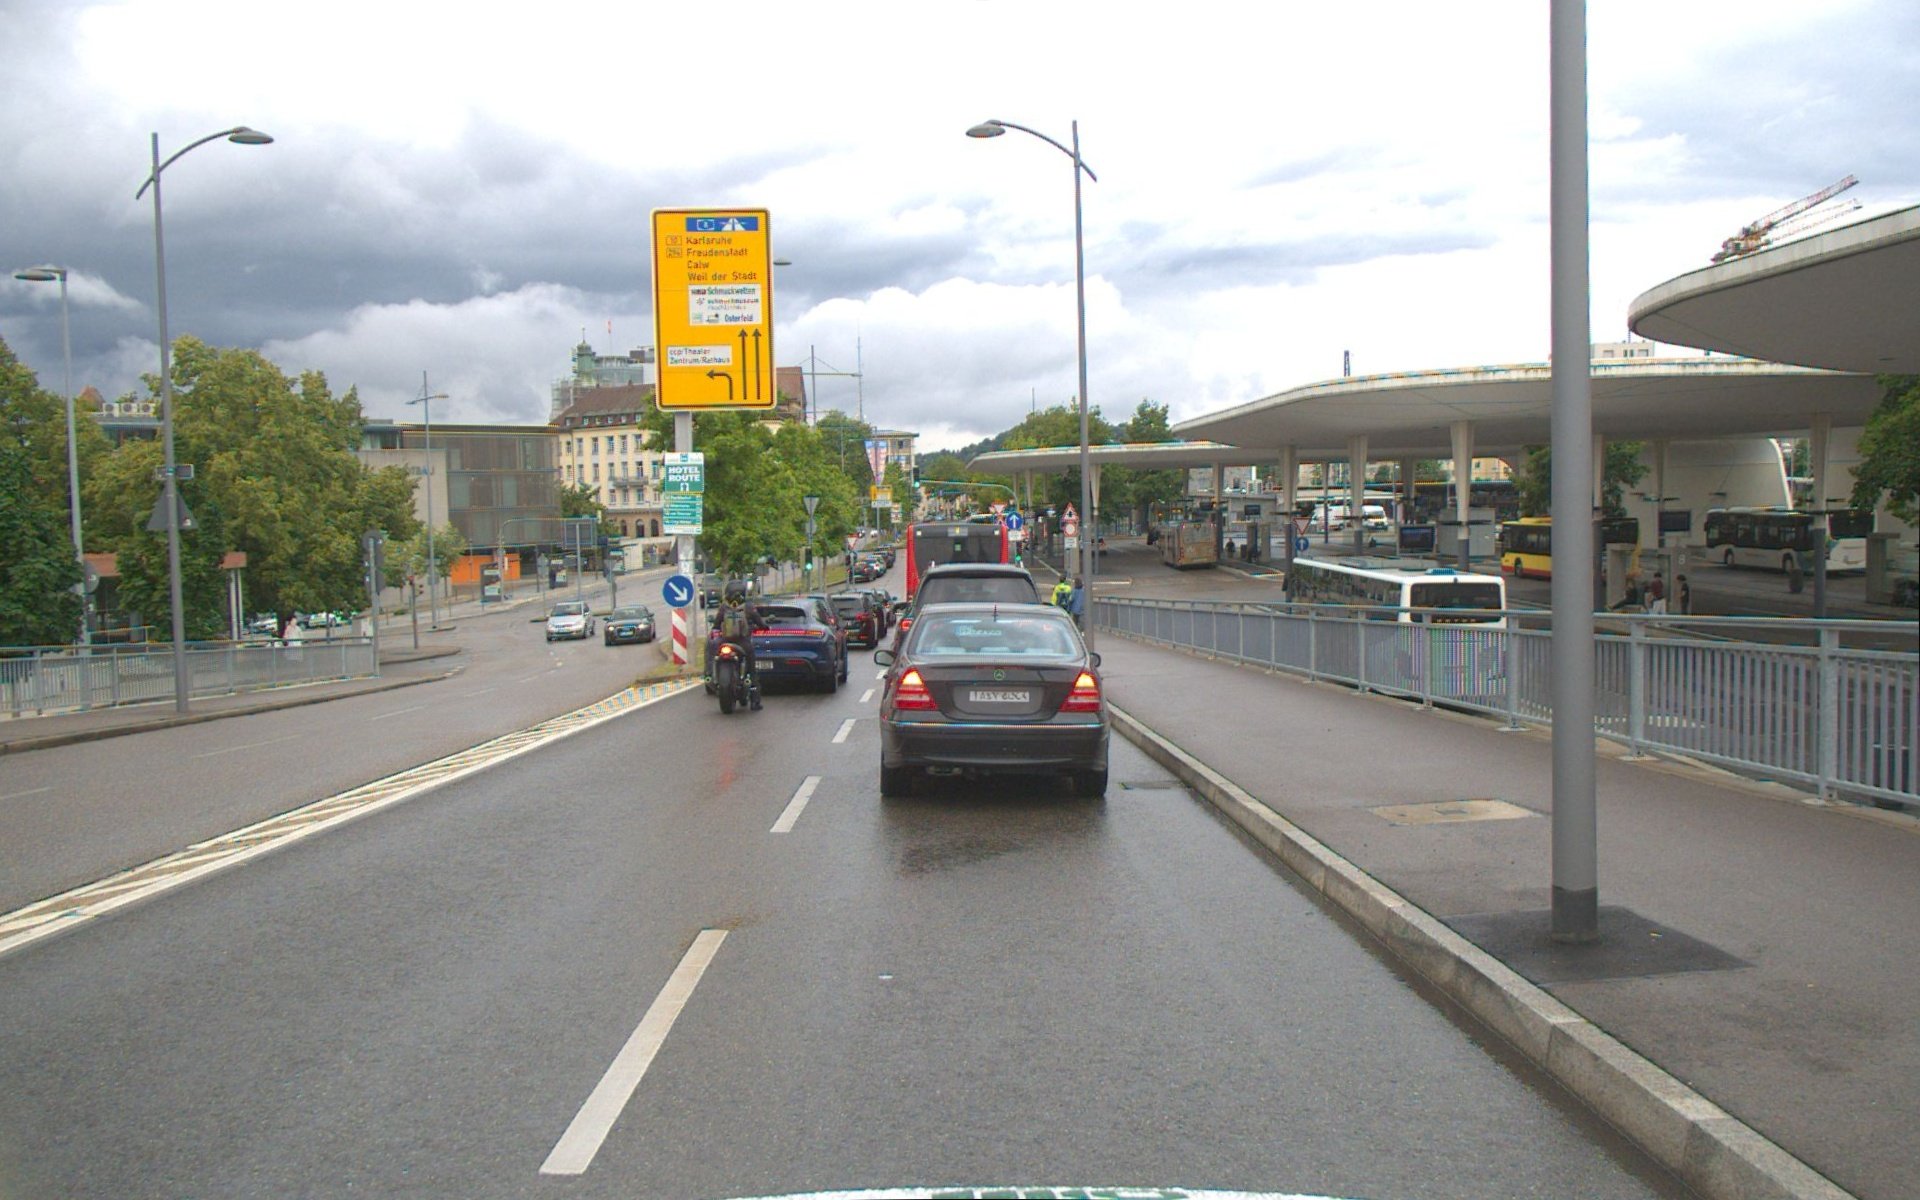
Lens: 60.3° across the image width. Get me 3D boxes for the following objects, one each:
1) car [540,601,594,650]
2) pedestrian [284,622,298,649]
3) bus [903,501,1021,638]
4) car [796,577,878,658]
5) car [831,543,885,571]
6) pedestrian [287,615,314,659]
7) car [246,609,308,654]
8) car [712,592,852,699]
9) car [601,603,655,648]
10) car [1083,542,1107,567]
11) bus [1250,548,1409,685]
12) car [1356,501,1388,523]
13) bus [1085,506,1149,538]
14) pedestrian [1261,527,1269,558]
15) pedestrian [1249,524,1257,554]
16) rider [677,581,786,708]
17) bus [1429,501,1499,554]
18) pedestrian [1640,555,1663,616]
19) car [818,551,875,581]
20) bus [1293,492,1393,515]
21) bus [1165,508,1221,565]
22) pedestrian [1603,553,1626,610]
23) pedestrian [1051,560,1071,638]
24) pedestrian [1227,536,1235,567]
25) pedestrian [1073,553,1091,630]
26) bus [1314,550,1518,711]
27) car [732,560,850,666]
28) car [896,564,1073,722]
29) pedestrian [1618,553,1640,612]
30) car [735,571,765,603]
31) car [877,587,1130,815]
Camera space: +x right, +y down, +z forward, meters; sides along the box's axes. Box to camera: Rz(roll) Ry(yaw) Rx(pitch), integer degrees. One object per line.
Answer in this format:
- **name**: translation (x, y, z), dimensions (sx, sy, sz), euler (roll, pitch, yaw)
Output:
- **car**: translation (-17.705, 1.118, 74.659), dimensions (1.956, 2.048, 3.993), euler (-2, 1, -8)
- **pedestrian**: translation (-22.737, 1.206, 56.225), dimensions (0.294, 0.888, 0.298), euler (-2, 2, 2)
- **bus**: translation (-0.021, -0.798, 44.349), dimensions (2.770, 3.245, 10.308), euler (0, 1, -1)
- **car**: translation (-3.233, 0.411, 44.100), dimensions (1.953, 2.041, 3.999), euler (0, 1, -1)
- **car**: translation (-7.840, -3.303, 127.342), dimensions (3.903, 2.048, 2.001), euler (-2, 1, 4)
- **pedestrian**: translation (-22.448, 1.260, 56.294), dimensions (0.634, 1.433, 0.531), euler (-2, 2, 2)
- **car**: translation (-35.007, 1.598, 84.702), dimensions (1.979, 2.048, 3.948), euler (3, 1, -37)
- **car**: translation (-2.652, 0.632, 25.417), dimensions (1.724, 1.461, 4.000), euler (0, 1, 0)
- **car**: translation (-13.548, 1.015, 67.680), dimensions (1.799, 1.553, 4.587), euler (-2, 2, -8)
- **car**: translation (11.489, -3.880, 140.335), dimensions (1.951, 2.048, 4.003), euler (-2, 1, 5)
- **bus**: translation (10.620, 0.324, 48.261), dimensions (2.594, 3.291, 7.069), euler (-2, 5, -4)
- **car**: translation (40.022, -8.571, 160.754), dimensions (1.953, 2.048, 4.000), euler (-2, 2, -1)
- **bus**: translation (18.355, -9.111, 193.725), dimensions (7.057, 3.455, 3.080), euler (-2, 2, -4)
- **pedestrian**: translation (20.590, -3.869, 111.745), dimensions (0.415, 2.049, 0.483), euler (-2, -1, 1)
- **pedestrian**: translation (20.423, -4.268, 115.232), dimensions (0.415, 2.048, 0.483), euler (-2, 1, 1)
- **rider**: translation (-2.842, 0.520, 20.792), dimensions (0.862, 1.497, 2.197), euler (1, 1, 5)
- **bus**: translation (32.709, -4.704, 107.545), dimensions (2.546, 3.265, 6.996), euler (-2, 2, 1)
- **pedestrian**: translation (23.438, -0.491, 56.065), dimensions (0.549, 2.048, 0.483), euler (-2, 1, 1)
- **car**: translation (-8.292, -2.497, 121.205), dimensions (3.903, 2.048, 2.001), euler (-2, 1, 4)
- **bus**: translation (40.041, -10.093, 172.992), dimensions (9.967, 2.048, 2.169), euler (-2, 1, -4)
- **bus**: translation (16.117, -4.302, 114.926), dimensions (3.111, 3.663, 10.516), euler (-1, 1, 4)
- **pedestrian**: translation (23.865, -0.690, 60.309), dimensions (0.532, 2.048, 0.579), euler (-2, 1, 0)
- **pedestrian**: translation (2.701, -0.020, 44.280), dimensions (0.479, 2.049, 0.470), euler (-2, -1, 1)
- **pedestrian**: translation (18.231, -3.249, 111.098), dimensions (0.415, 2.048, 0.483), euler (-2, 1, 1)
- **pedestrian**: translation (3.263, -0.222, 44.224), dimensions (0.415, 2.049, 0.483), euler (-2, -1, 1)
- **bus**: translation (11.127, 0.600, 41.123), dimensions (2.594, 3.291, 7.069), euler (1, 4, -4)
- **car**: translation (-3.366, 0.212, 33.636), dimensions (1.952, 2.041, 4.000), euler (0, 1, 0)
- **car**: translation (0.395, 0.432, 20.090), dimensions (1.788, 1.716, 4.003), euler (0, 1, 6)
- **pedestrian**: translation (23.753, -0.617, 58.725), dimensions (0.532, 2.048, 0.579), euler (-2, 1, 0)
- **car**: translation (-14.340, -0.893, 113.111), dimensions (1.956, 2.049, 4.195), euler (-2, 0, -7)
- **car**: translation (0.298, 0.663, 12.932), dimensions (1.671, 1.444, 3.726), euler (1, 1, 0)
